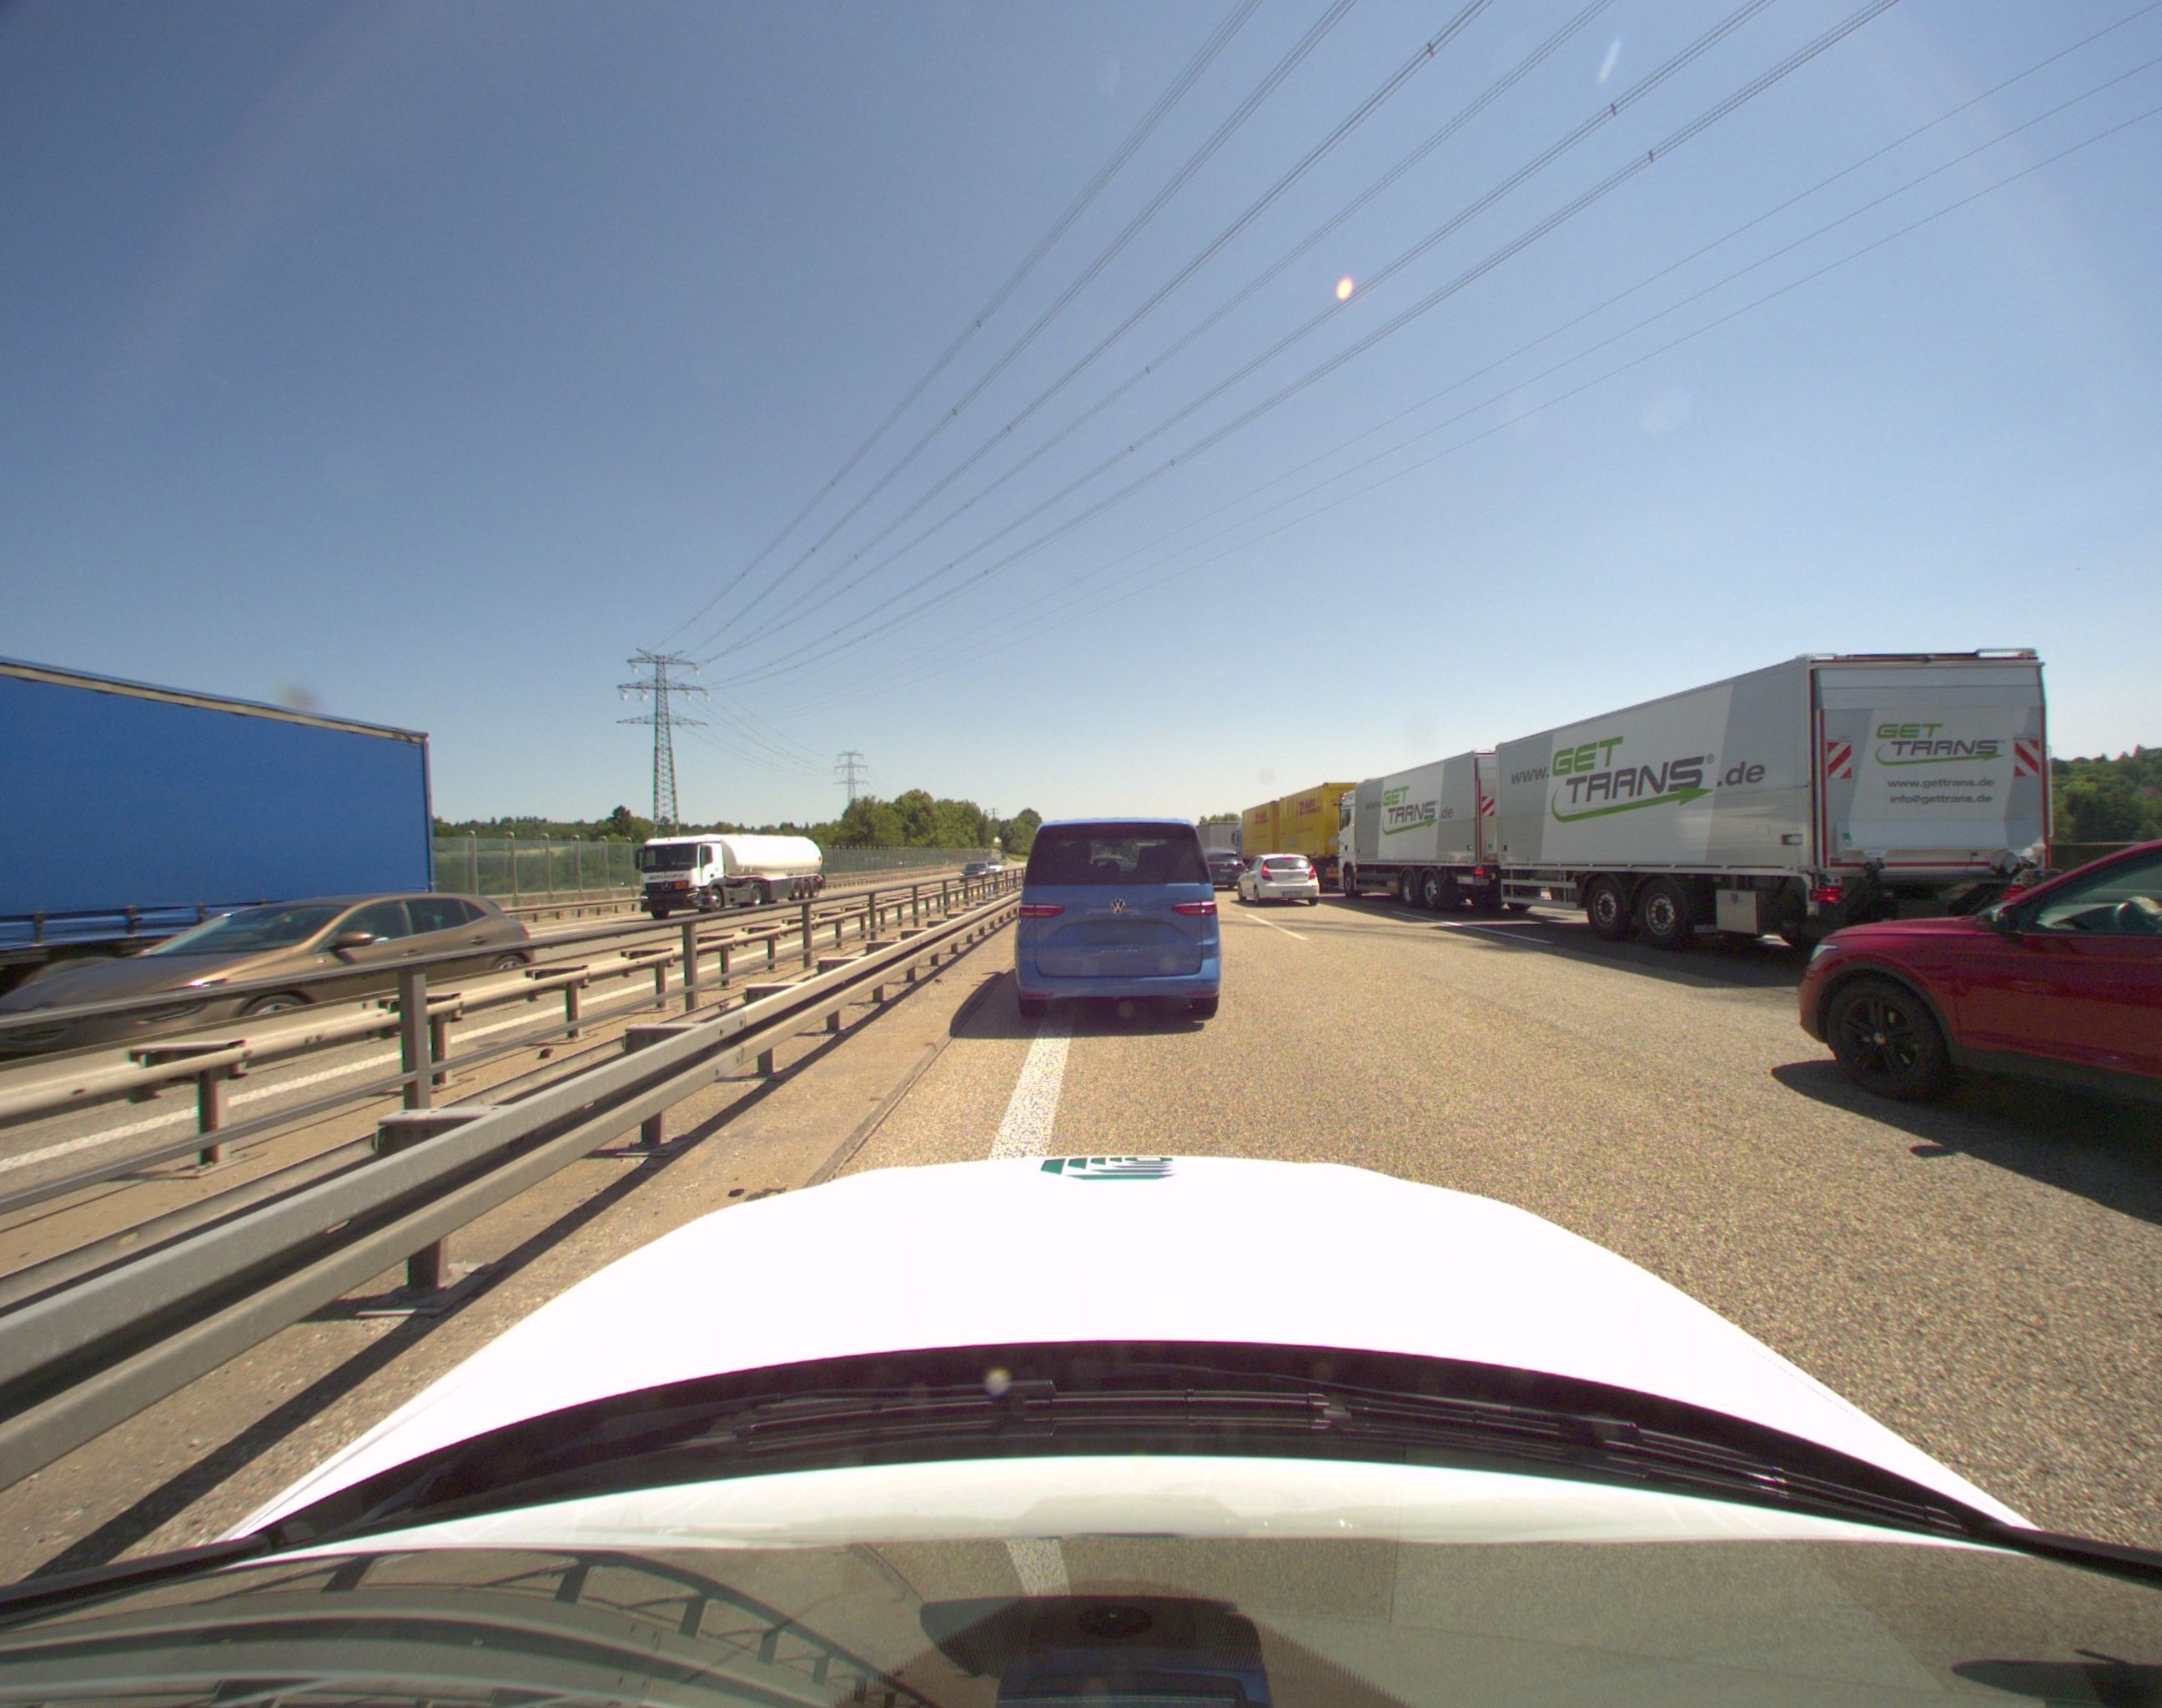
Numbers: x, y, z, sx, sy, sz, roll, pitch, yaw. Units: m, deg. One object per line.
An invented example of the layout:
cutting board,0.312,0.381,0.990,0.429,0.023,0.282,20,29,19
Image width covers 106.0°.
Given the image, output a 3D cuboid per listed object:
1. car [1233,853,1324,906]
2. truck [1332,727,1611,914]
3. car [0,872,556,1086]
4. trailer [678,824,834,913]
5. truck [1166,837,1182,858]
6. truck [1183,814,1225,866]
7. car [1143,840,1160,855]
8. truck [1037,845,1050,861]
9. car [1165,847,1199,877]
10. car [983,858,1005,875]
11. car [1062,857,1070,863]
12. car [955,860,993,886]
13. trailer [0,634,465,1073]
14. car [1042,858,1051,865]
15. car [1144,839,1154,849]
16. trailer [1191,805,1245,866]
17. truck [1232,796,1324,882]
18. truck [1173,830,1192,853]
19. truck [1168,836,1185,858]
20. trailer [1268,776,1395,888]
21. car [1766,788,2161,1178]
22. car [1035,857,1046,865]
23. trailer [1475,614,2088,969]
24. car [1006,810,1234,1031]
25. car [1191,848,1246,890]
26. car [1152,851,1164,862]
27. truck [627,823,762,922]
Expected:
car,5.849,0.735,24.518,1.809,1.470,3.932,0,-1,0
truck,9.873,-0.654,22.495,2.841,3.934,10.613,0,-1,2
car,-7.620,0.990,8.219,1.875,1.552,4.189,0,-1,0
trailer,-14.953,0.660,38.763,2.489,3.540,10.909,-3,-1,2
truck,11.902,-0.789,104.312,1.790,2.596,4.307,0,-1,2
truck,11.441,-1.195,76.396,3.014,4.611,7.925,0,-1,2
car,8.435,-0.802,97.576,1.912,1.706,4.001,0,-1,2
truck,-10.694,-0.175,232.440,2.917,4.293,6.862,-4,-1,3
car,6.882,0.554,55.883,1.955,1.936,3.933,0,-1,2
car,-9.201,1.299,86.266,1.800,1.640,4.000,-4,-1,1
car,-3.803,1.566,210.521,1.865,1.530,3.609,-7,-1,1
car,-6.833,1.188,52.323,1.875,1.552,4.189,0,-1,0
trailer,-11.610,0.037,7.244,2.694,4.165,12.053,-3,-1,1
car,-8.477,1.851,198.809,1.833,1.822,4.748,-2,-1,1
car,12.453,-1.895,149.514,1.790,1.751,3.945,0,-1,2
trailer,11.048,-1.318,66.973,3.014,4.611,10.930,0,-1,2
truck,10.301,-0.661,43.799,2.690,4.088,9.940,0,-1,1
truck,11.229,-1.342,90.271,1.791,2.449,4.506,0,-1,2
truck,11.574,-0.819,99.195,1.735,2.549,4.212,0,-1,2
trailer,10.209,-0.765,34.337,2.673,4.088,8.980,0,-1,1
car,5.507,0.555,3.484,1.701,1.679,4.288,0,-1,3
car,-8.246,1.447,167.797,1.865,1.442,4.386,-3,-1,1
trailer,9.655,-0.641,13.045,2.888,3.891,8.217,0,-1,2
car,0.395,0.590,8.925,1.923,1.874,4.001,0,-1,2
car,5.760,0.633,34.496,1.808,1.679,3.934,0,-1,3
car,12.746,0.477,134.370,1.790,1.751,3.945,0,-1,2
truck,-15.230,0.714,32.567,2.510,3.535,5.333,-3,-1,2
